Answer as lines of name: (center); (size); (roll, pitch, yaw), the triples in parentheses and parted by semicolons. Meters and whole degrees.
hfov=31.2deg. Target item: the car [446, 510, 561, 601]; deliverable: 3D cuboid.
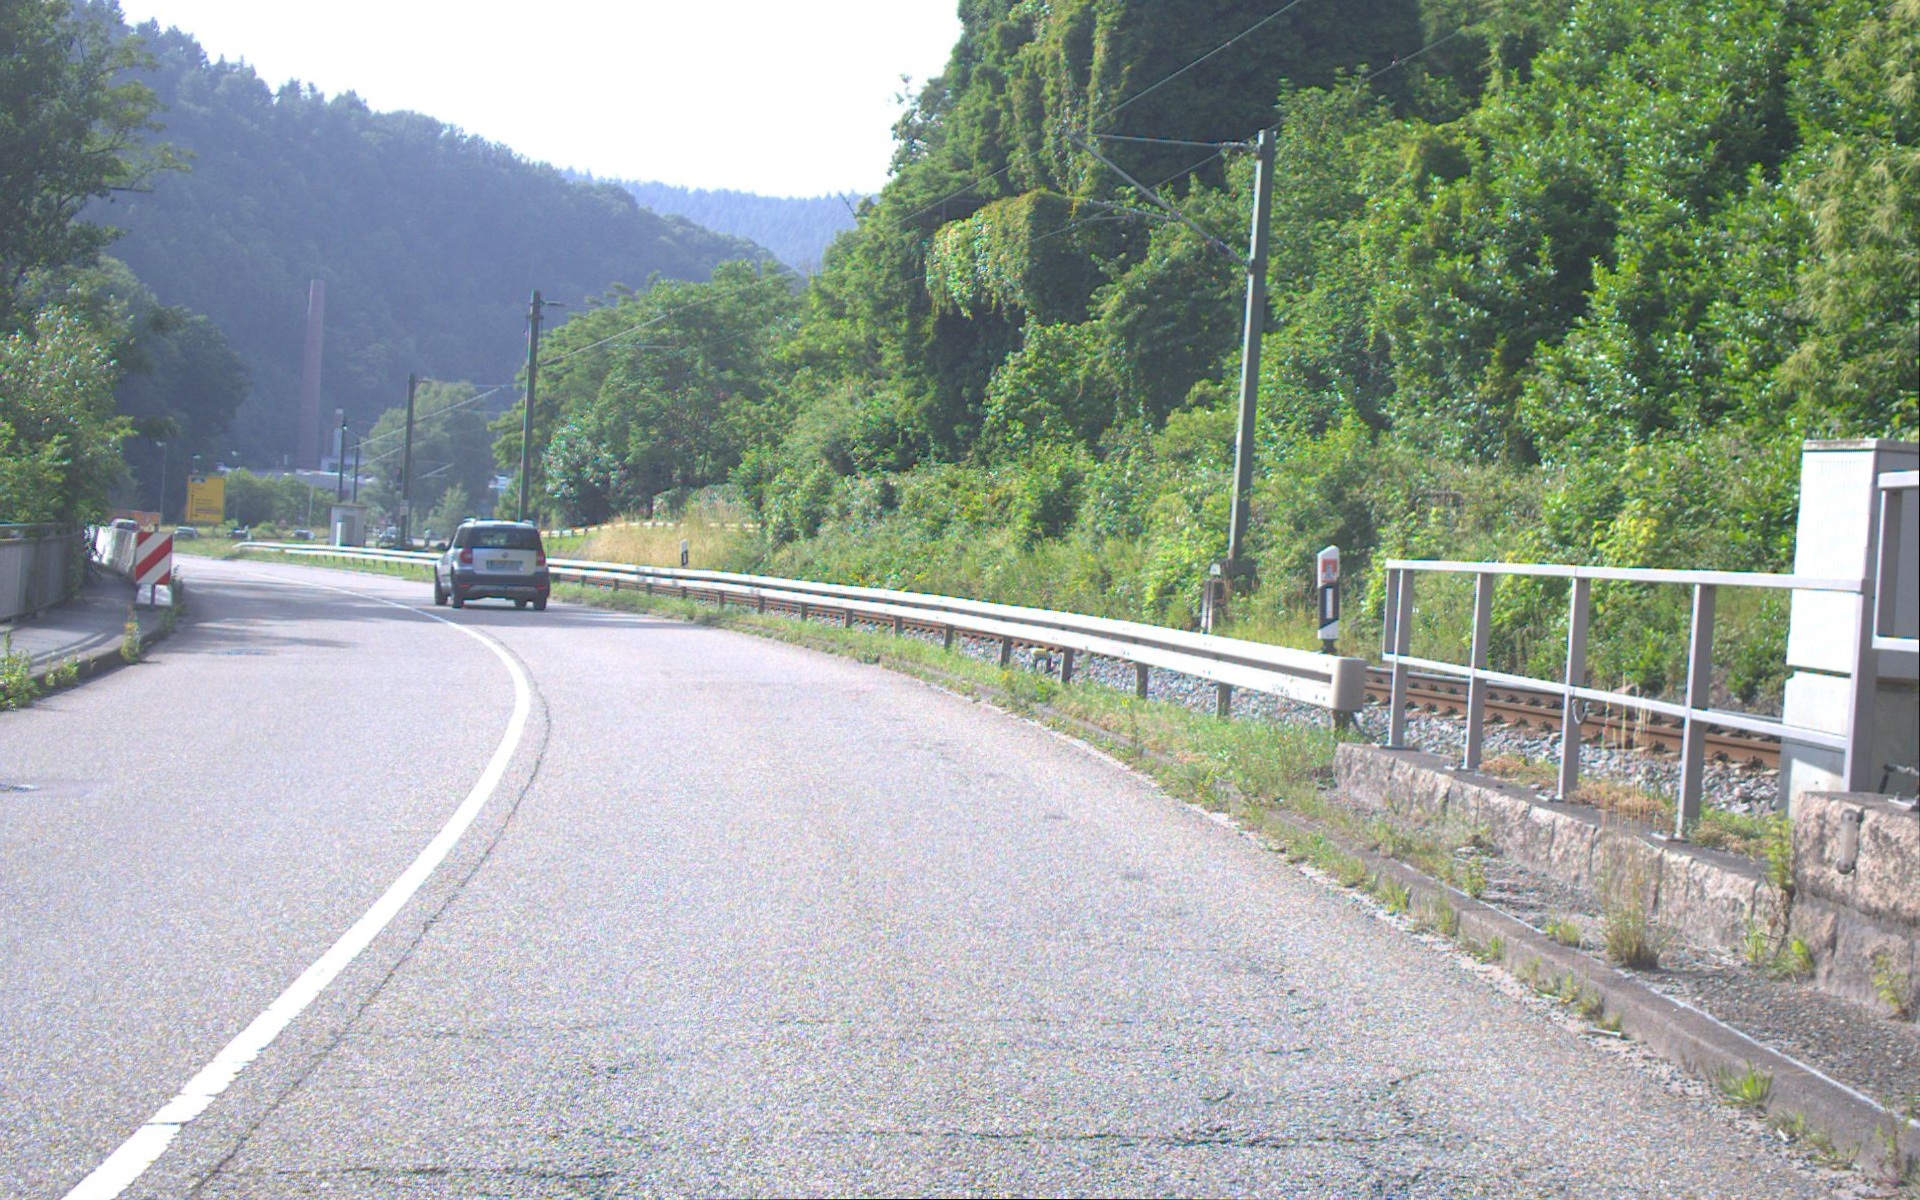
car: (-8.645, -0.812, 64.854); (1.872, 1.650, 4.001); (1, 0, -11)
